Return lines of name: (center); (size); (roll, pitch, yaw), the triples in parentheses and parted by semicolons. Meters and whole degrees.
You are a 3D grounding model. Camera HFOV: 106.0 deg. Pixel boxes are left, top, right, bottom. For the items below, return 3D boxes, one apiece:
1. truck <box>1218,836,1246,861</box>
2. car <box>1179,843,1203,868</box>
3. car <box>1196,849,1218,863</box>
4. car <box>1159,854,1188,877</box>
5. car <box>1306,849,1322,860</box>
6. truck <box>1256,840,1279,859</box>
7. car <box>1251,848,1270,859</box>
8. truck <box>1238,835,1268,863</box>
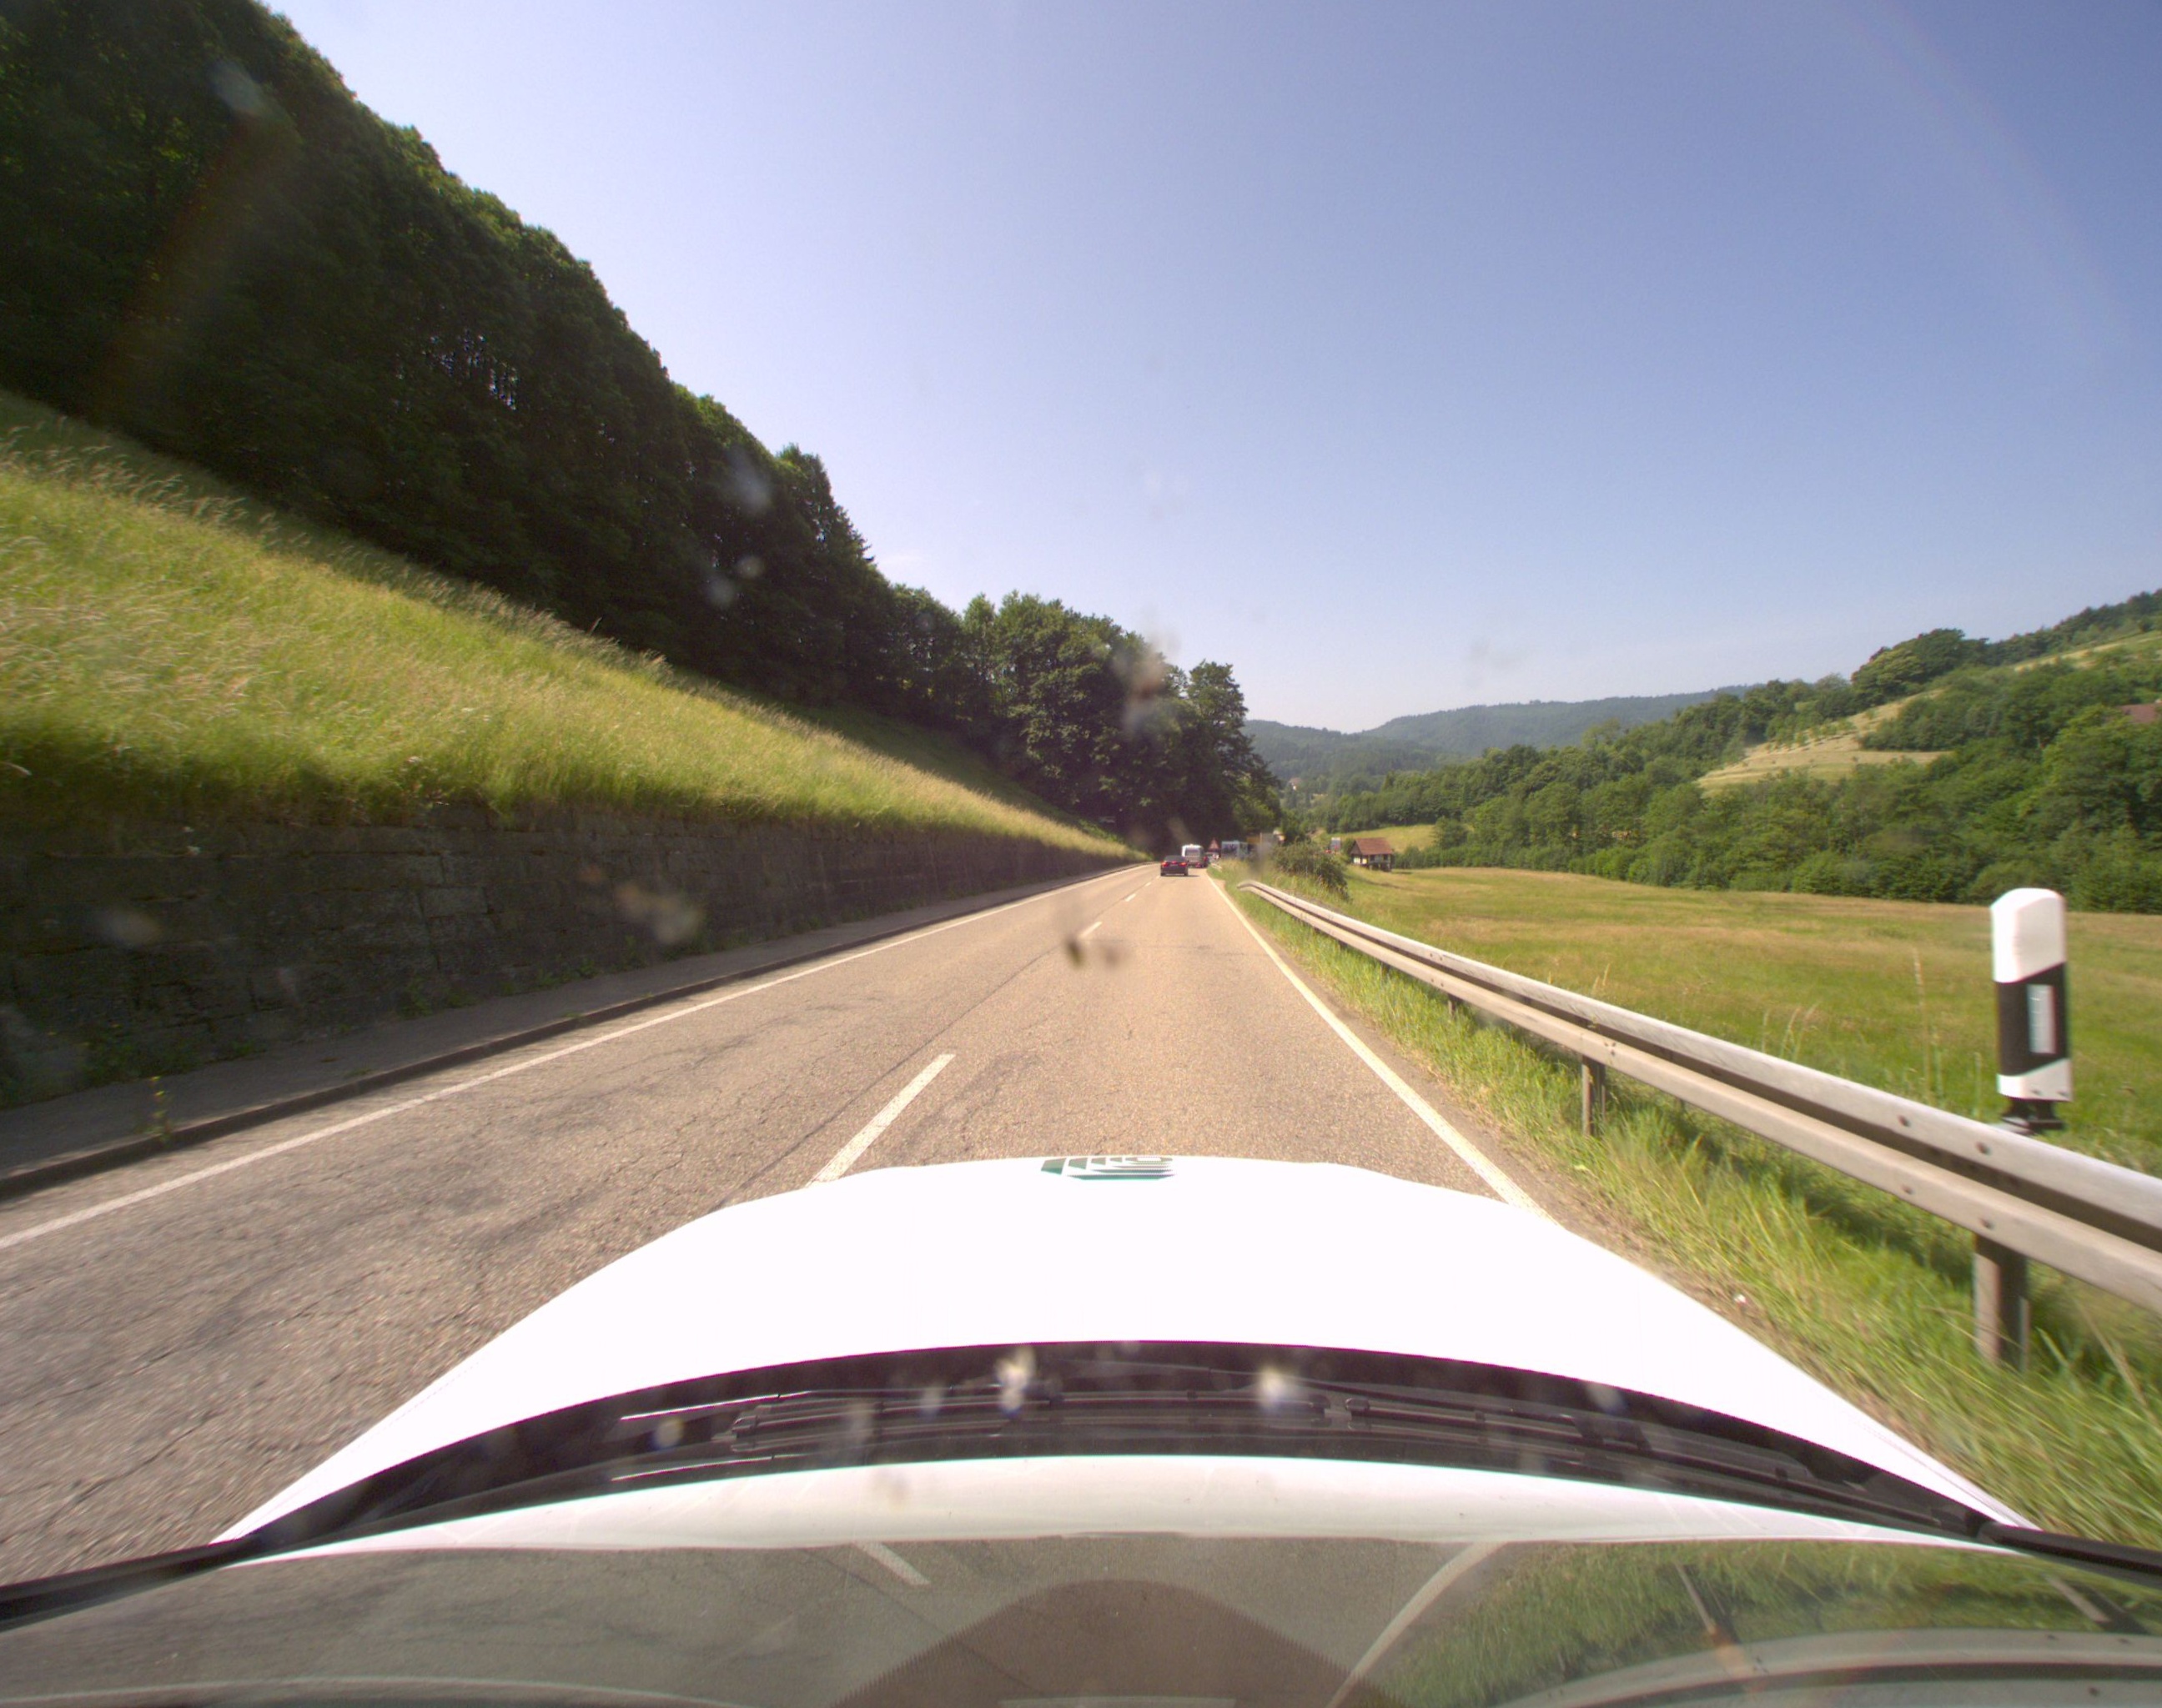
truck: (19.535, -0.699, 104.990); (2.770, 2.997, 6.898); (3, 2, 16)
car: (10.912, 0.116, 80.278); (1.981, 2.352, 4.930); (1, 2, 11)
car: (14.479, 0.256, 93.073); (1.979, 1.484, 4.016); (3, 1, 15)
car: (6.042, 0.733, 53.241); (1.762, 1.335, 3.775); (1, 2, 7)
car: (44.432, 0.130, 155.176); (1.975, 1.925, 4.024); (3, 1, 28)
truck: (28.905, -0.638, 125.830); (2.217, 2.804, 6.266); (2, 0, 24)
car: (26.374, -0.092, 119.485); (1.771, 1.463, 4.024); (3, 2, 27)
truck: (28.091, -0.863, 132.819); (3.159, 4.396, 6.611); (2, 2, 27)
